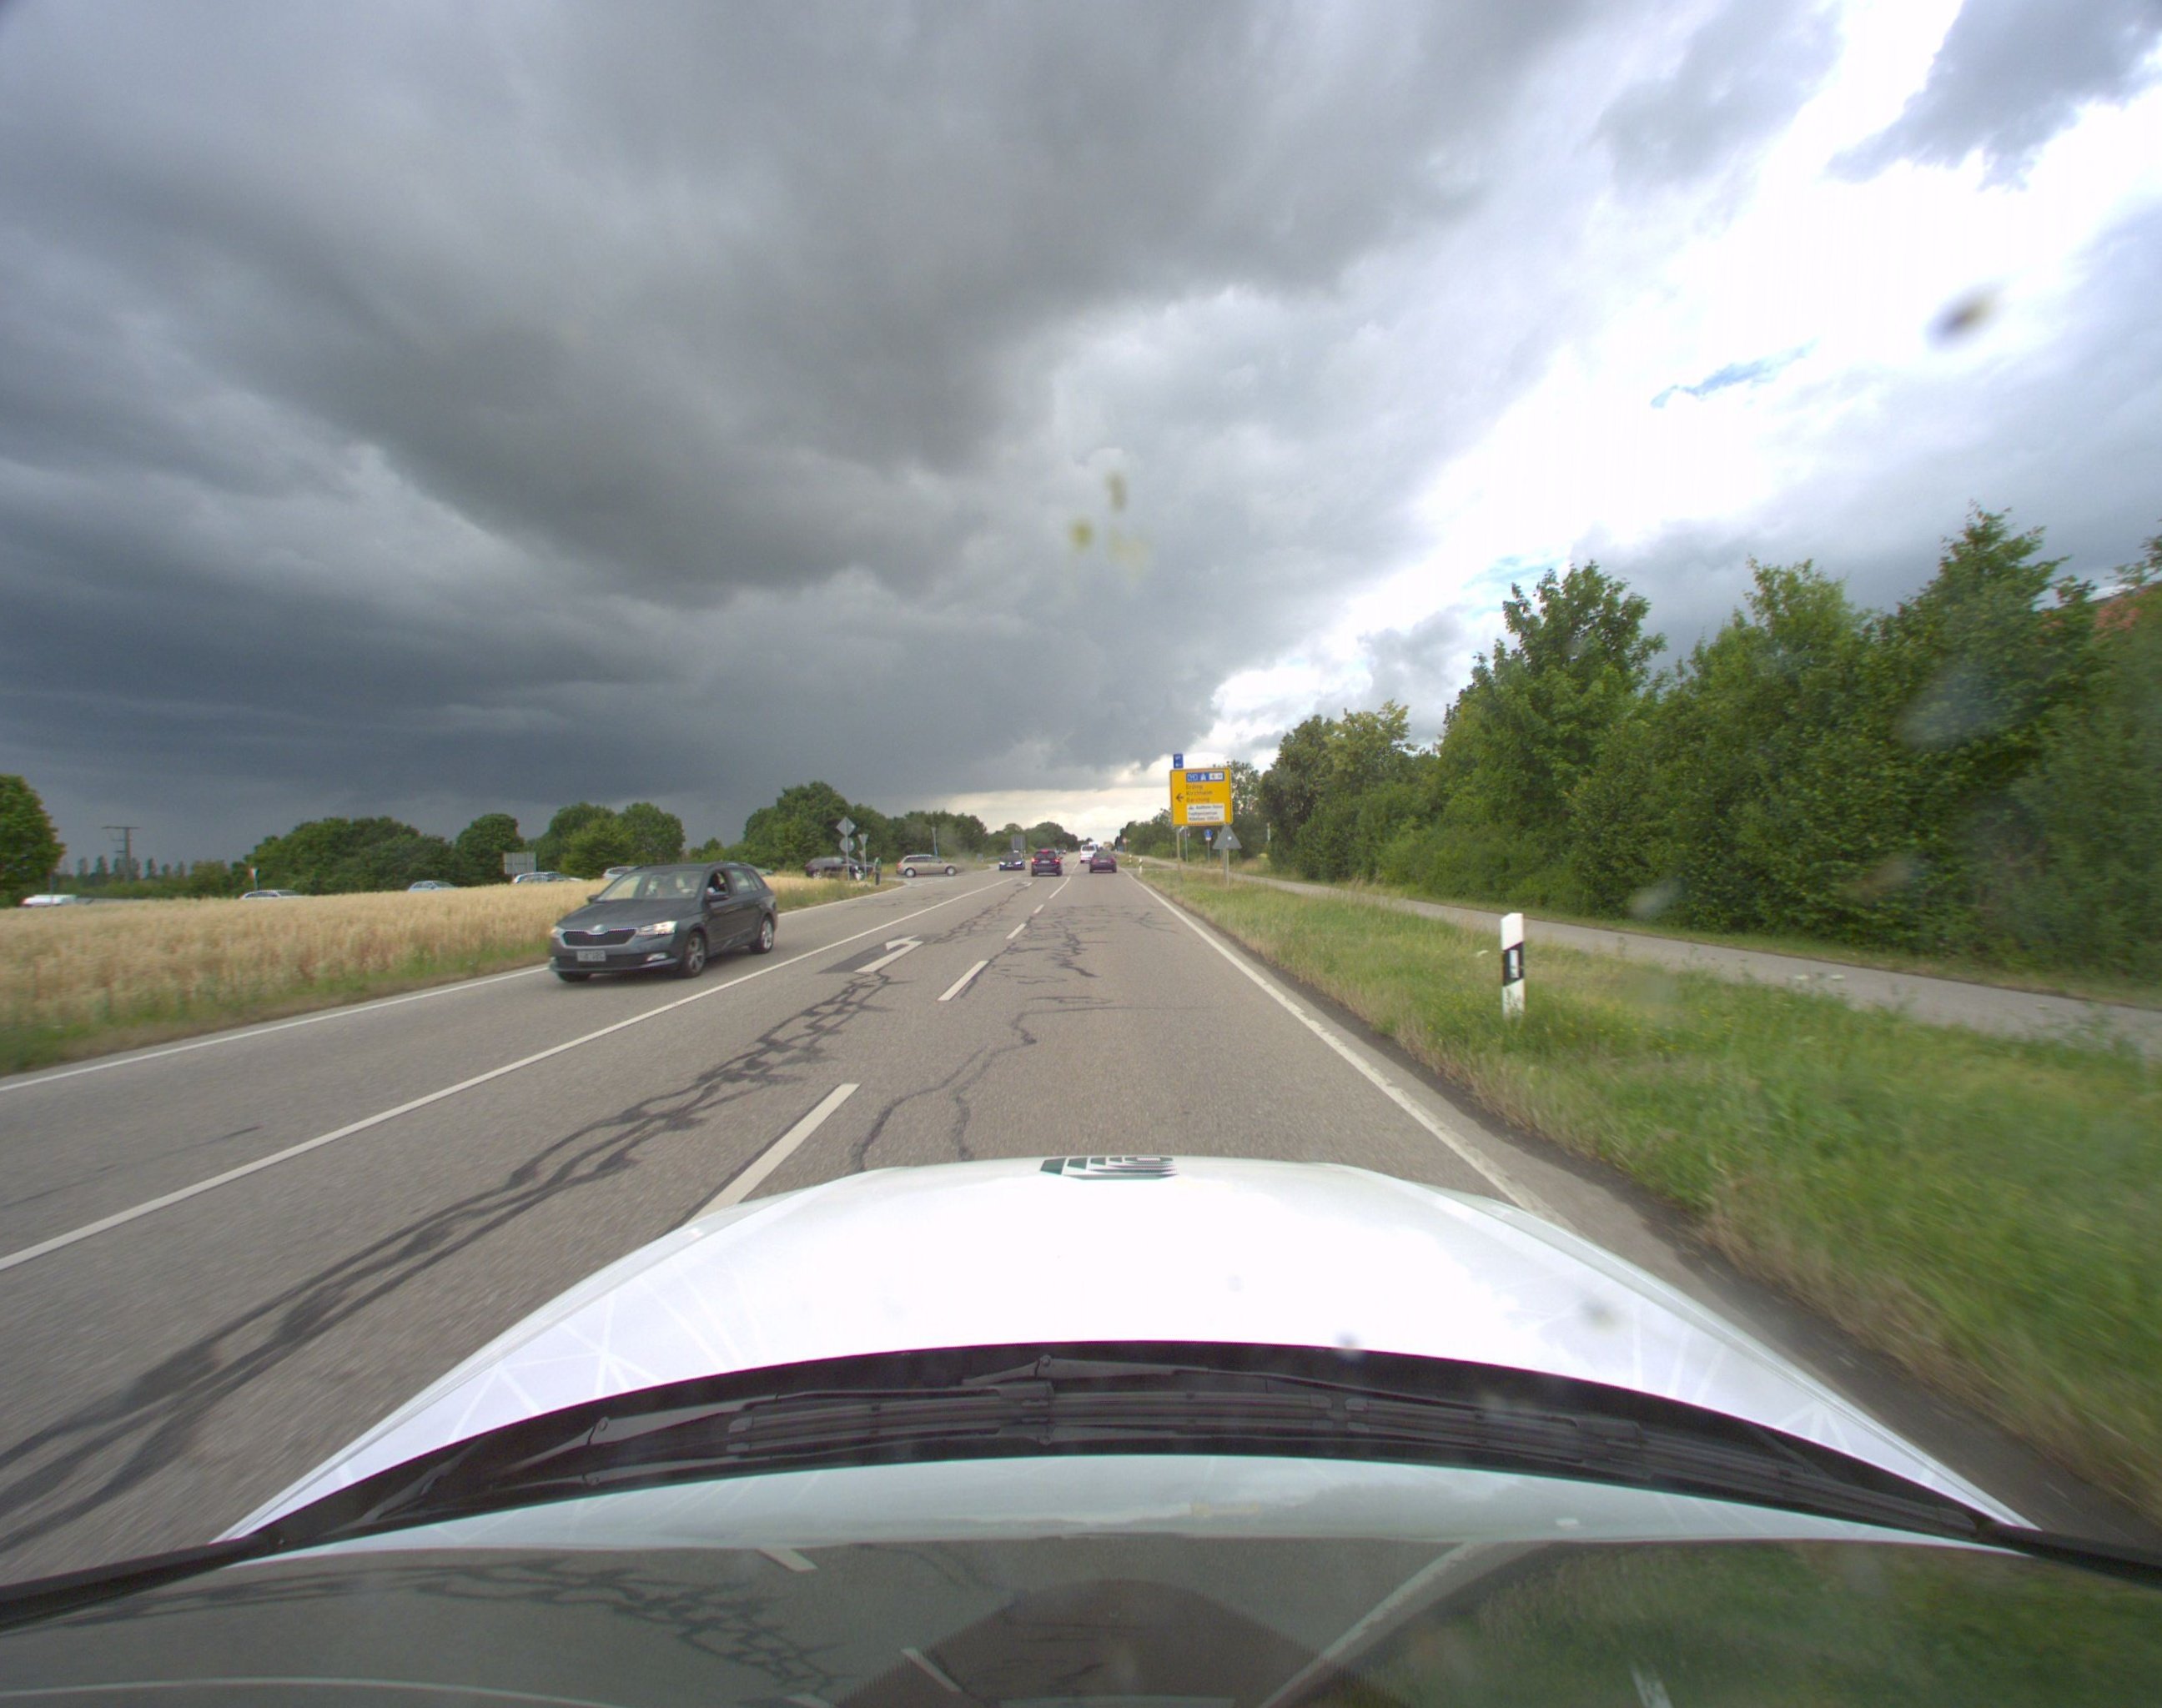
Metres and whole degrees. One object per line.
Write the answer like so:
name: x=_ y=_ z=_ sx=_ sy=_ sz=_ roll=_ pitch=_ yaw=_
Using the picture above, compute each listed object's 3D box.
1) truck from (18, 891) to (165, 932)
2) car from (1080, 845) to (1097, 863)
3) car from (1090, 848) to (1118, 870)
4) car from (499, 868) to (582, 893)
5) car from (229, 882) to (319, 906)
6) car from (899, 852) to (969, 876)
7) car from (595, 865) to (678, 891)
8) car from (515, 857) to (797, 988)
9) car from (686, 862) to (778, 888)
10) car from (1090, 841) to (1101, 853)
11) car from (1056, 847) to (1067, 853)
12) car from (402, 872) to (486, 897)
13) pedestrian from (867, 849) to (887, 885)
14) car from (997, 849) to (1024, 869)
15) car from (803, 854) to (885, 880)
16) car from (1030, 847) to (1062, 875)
truck: x=-99.013 y=5.563 z=82.099 sx=2.806 sy=3.133 sz=16.182 roll=-2 pitch=0 yaw=-26
car: x=0.862 y=-0.045 z=88.449 sx=1.780 sy=1.889 sz=4.000 roll=0 pitch=0 yaw=1
car: x=1.540 y=0.348 z=54.985 sx=1.780 sy=1.423 sz=4.000 roll=0 pitch=0 yaw=1
car: x=-36.931 y=1.833 z=55.683 sx=4.467 sy=1.482 sz=1.915 roll=-2 pitch=0 yaw=7
car: x=-56.439 y=2.782 z=56.968 sx=4.471 sy=1.482 sz=1.913 roll=-2 pitch=0 yaw=4
car: x=-9.756 y=0.664 z=54.400 sx=4.447 sy=1.424 sz=1.906 roll=-2 pitch=0 yaw=-7
car: x=-29.924 y=1.582 z=54.864 sx=4.599 sy=1.517 sz=1.915 roll=-2 pitch=0 yaw=7
car: x=-5.743 y=0.823 z=11.694 sx=1.729 sy=1.458 sz=4.133 roll=-2 pitch=0 yaw=2
car: x=-23.275 y=1.406 z=54.397 sx=5.257 sy=1.521 sz=1.915 roll=-2 pitch=0 yaw=7
car: x=3.121 y=-1.600 z=177.415 sx=2.439 sy=2.504 sz=5.043 roll=0 pitch=1 yaw=1
car: x=-4.178 y=-0.867 z=174.670 sx=2.157 sy=1.285 sz=4.236 roll=1 pitch=0 yaw=0
car: x=-44.111 y=2.125 z=56.429 sx=4.467 sy=1.482 sz=1.915 roll=-2 pitch=0 yaw=7
pedestrian: x=-9.530 y=0.588 z=38.037 sx=0.591 sy=1.605 sz=0.865 roll=-5 pitch=0 yaw=-2
car: x=-5.553 y=0.386 z=64.345 sx=1.673 sy=1.521 sz=4.397 roll=0 pitch=0 yaw=1
car: x=-15.634 y=0.869 z=53.805 sx=4.714 sy=1.531 sz=1.915 roll=-2 pitch=0 yaw=7
car: x=-2.115 y=0.421 z=50.602 sx=1.697 sy=1.611 sz=4.482 roll=-3 pitch=0 yaw=0
